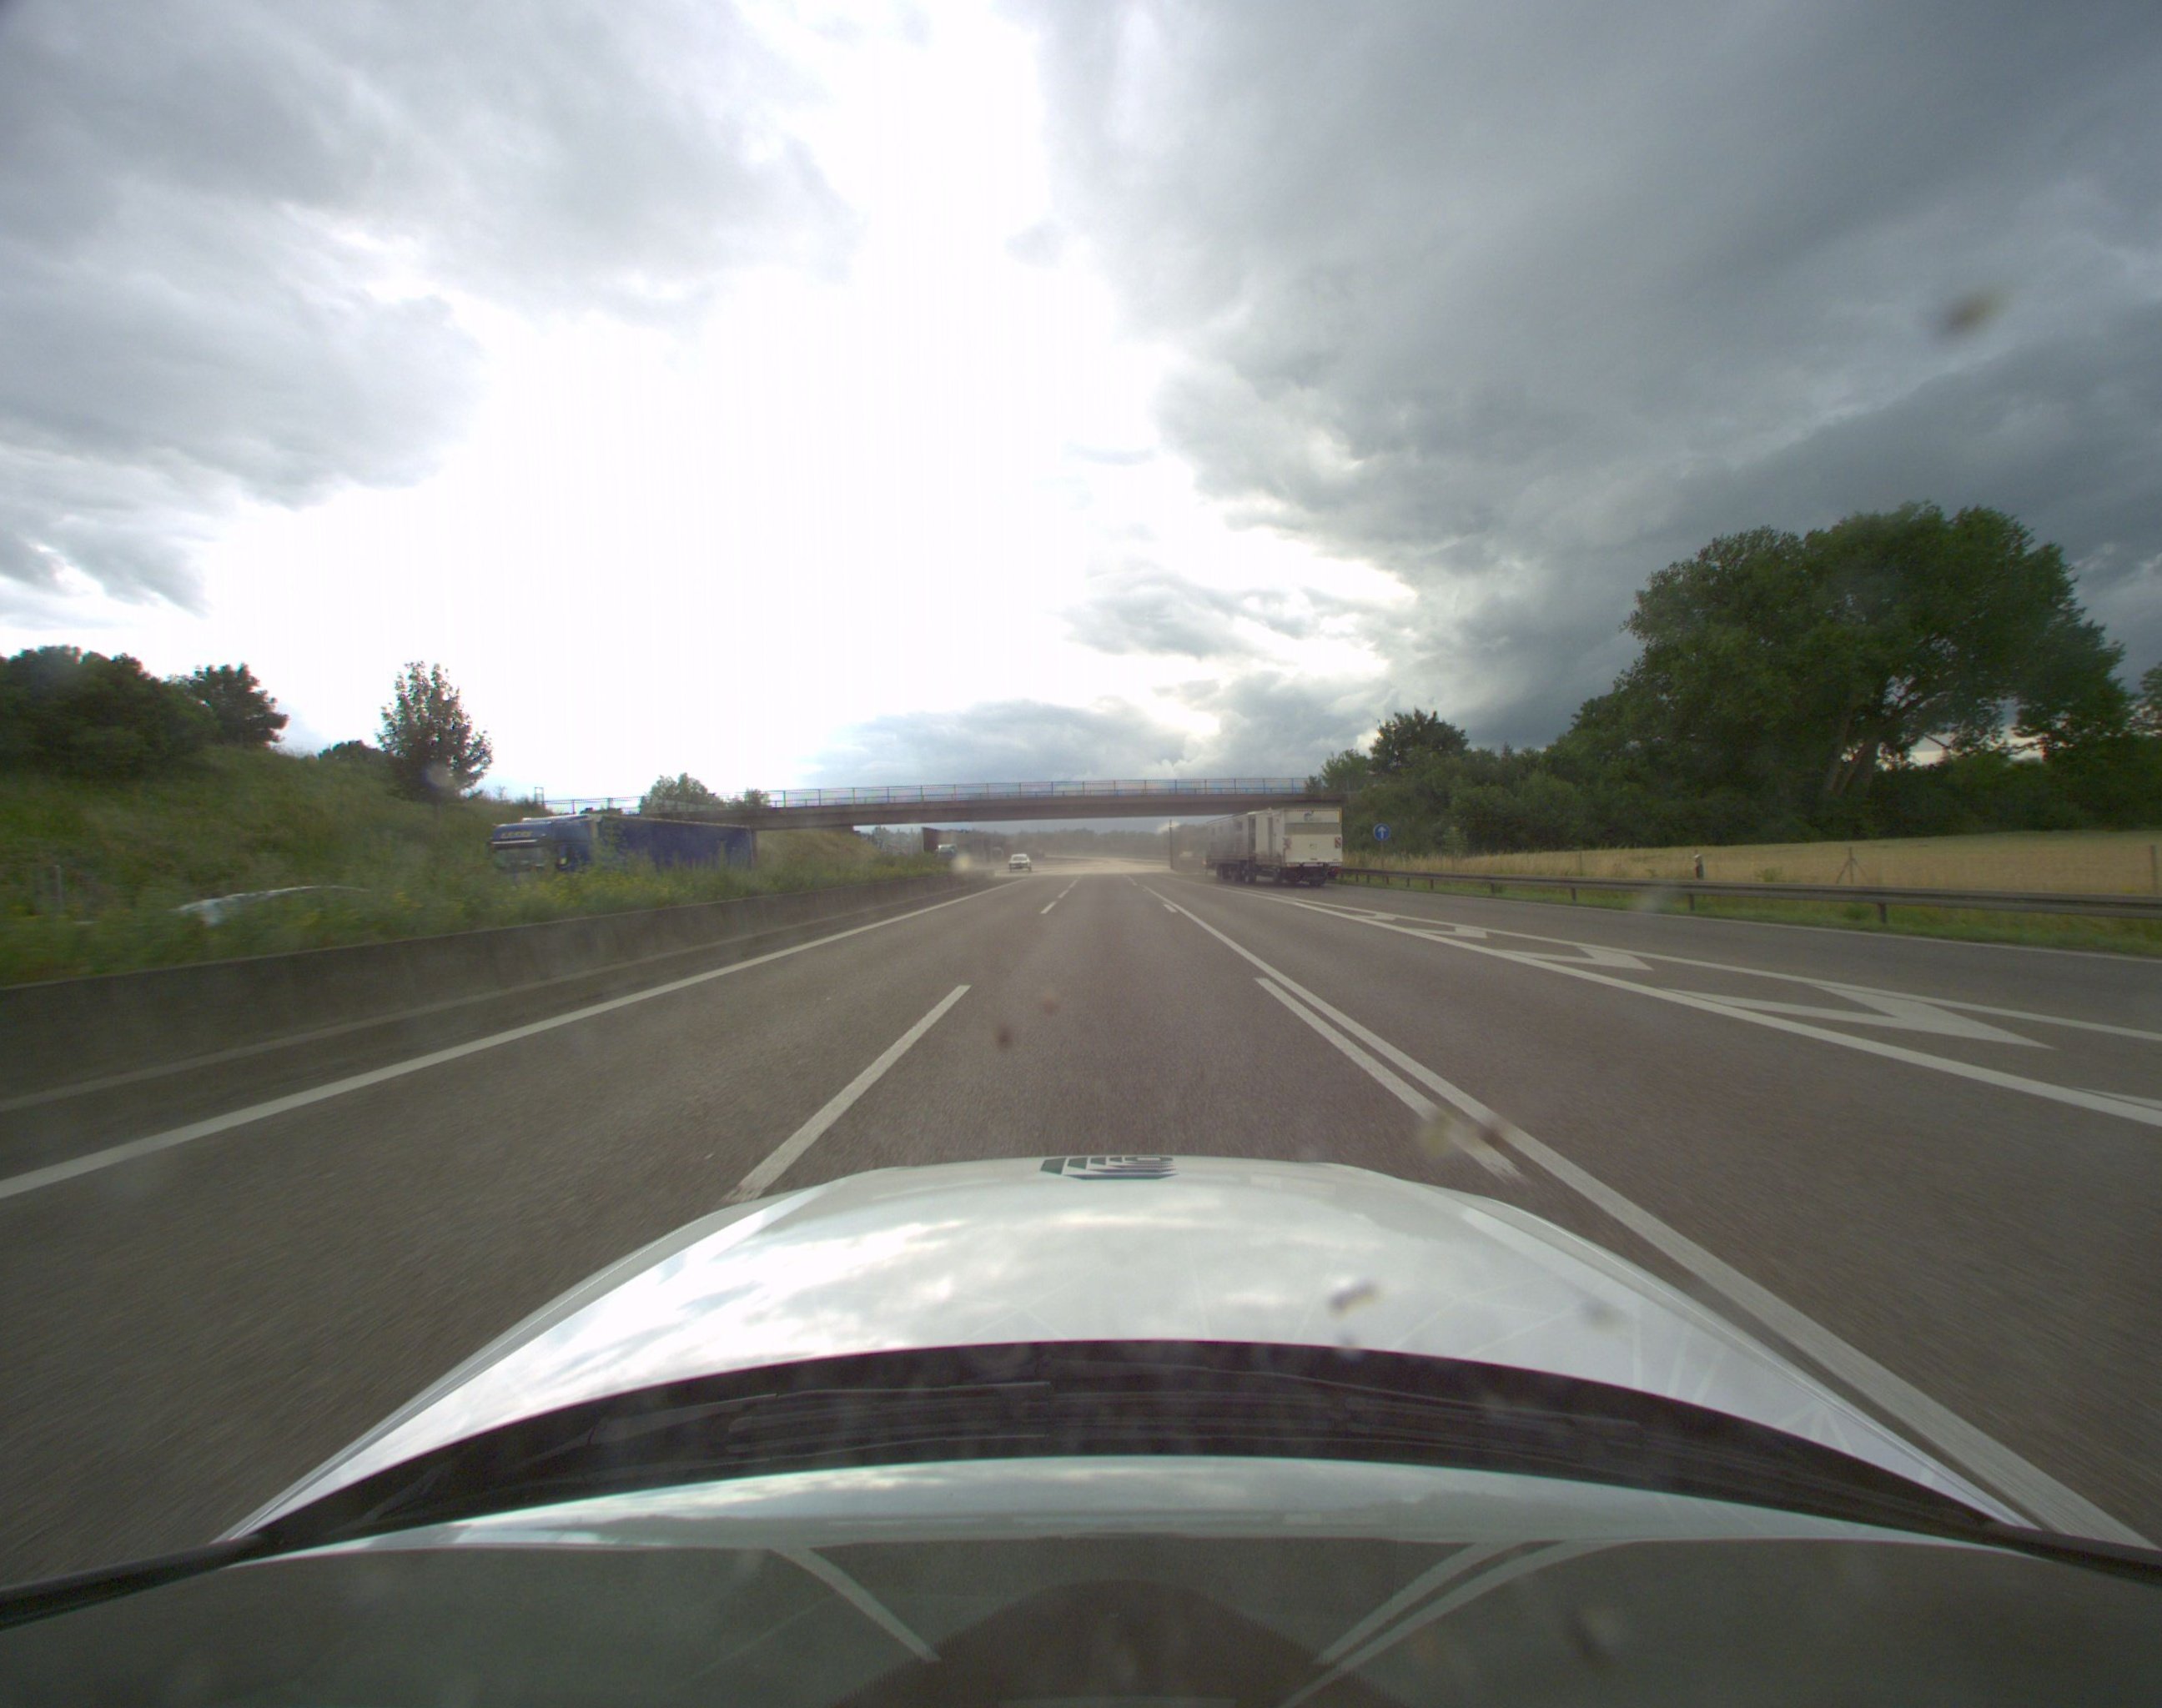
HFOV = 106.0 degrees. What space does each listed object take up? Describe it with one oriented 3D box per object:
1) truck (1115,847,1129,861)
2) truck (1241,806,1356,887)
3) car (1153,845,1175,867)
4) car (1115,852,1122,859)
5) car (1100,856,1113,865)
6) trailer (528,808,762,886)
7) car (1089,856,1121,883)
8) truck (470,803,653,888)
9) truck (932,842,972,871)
[{"bbox_3d":[9.311,0.025,185.951,2.700,2.964,12.449,0,0,1],"label":"truck"},{"bbox_3d":[10.146,-0.291,39.191,3.095,3.471,8.887,0,0,-1],"label":"truck"},{"bbox_3d":[9.990,0.215,98.315,2.213,2.568,6.258,-1,0,2],"label":"car"},{"bbox_3d":[11.623,0.545,250.723,1.986,2.013,4.001,-2,0,1],"label":"car"},{"bbox_3d":[4.051,1.057,130.461,1.987,1.298,4.000,-2,0,1],"label":"car"},{"bbox_3d":[-19.274,-0.243,37.858,2.910,2.955,13.976,0,0,2],"label":"trailer"},{"bbox_3d":[1.349,0.833,45.712,1.737,1.389,4.001,-1,0,1],"label":"car"},{"bbox_3d":[-19.517,-0.278,31.115,2.899,2.946,6.118,0,0,2],"label":"truck"},{"bbox_3d":[-17.518,0.422,111.590,2.986,3.684,13.013,-1,-1,2],"label":"truck"}]
